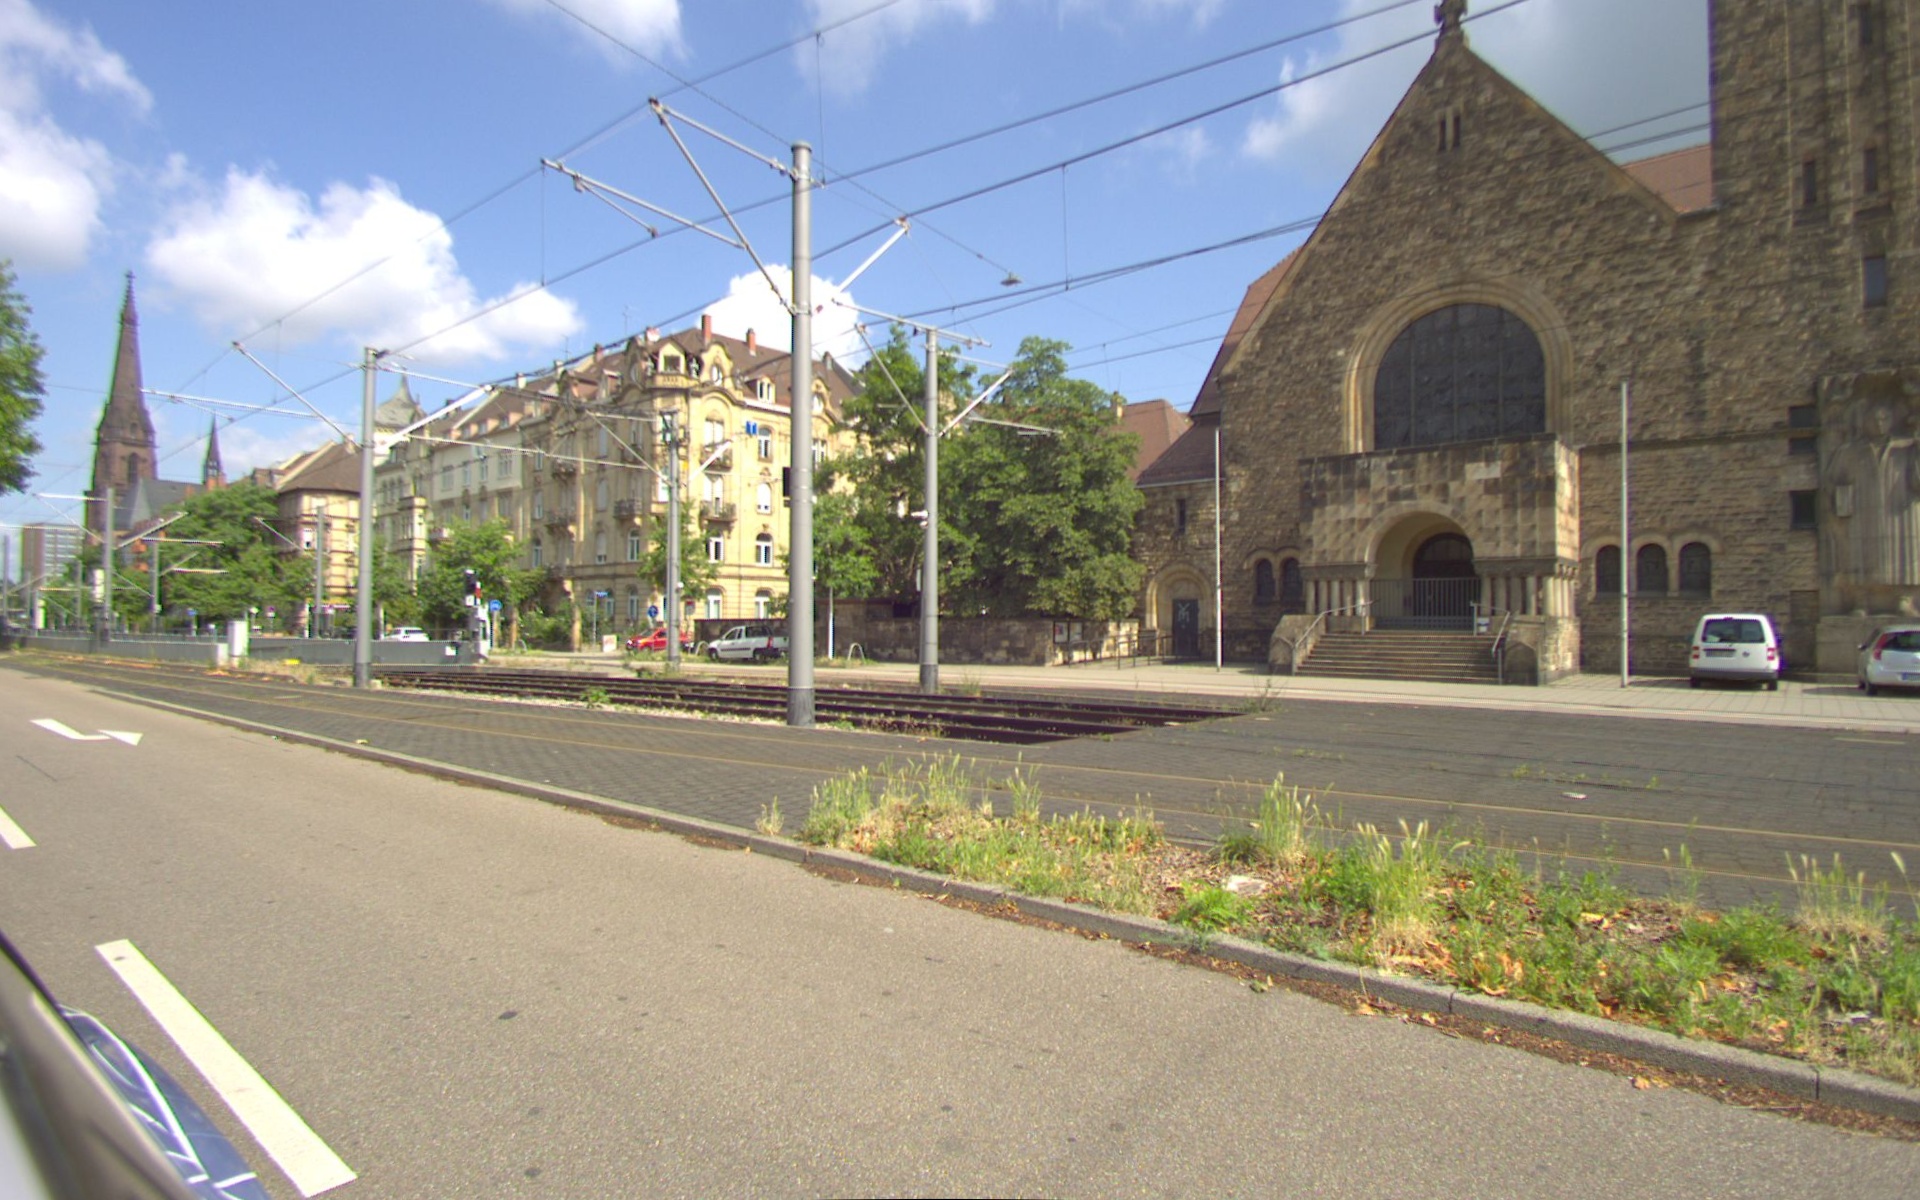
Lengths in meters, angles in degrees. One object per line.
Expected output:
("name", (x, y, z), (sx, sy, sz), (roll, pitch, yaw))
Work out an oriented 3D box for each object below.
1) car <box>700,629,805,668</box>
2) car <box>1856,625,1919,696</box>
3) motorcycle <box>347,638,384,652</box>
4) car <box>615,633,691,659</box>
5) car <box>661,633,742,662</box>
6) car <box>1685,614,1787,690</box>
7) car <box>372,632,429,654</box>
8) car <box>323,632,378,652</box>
("car", (-8.551, 1.974, 41.586), (4.410, 1.516, 1.911), (-2, -3, 39))
("car", (21.547, 1.336, 22.807), (1.853, 1.514, 3.232), (-2, -3, 39))
("motorcycle", (-40.846, 3.100, 69.533), (1.416, 0.949, 1.742), (-2, -4, 40))
("car", (-17.693, 2.620, 58.401), (1.933, 1.475, 3.738), (-2, -3, 44))
("car", (-13.793, 2.543, 54.154), (1.723, 1.475, 3.921), (-2, -3, 41))
("car", (19.584, 1.268, 25.556), (1.892, 1.762, 3.832), (-2, -3, 38))
("car", (-36.316, 2.775, 65.642), (4.308, 1.338, 1.734), (-1, -3, 39))
("car", (-43.007, 2.949, 71.391), (4.096, 1.337, 2.000), (-2, -3, 39))
